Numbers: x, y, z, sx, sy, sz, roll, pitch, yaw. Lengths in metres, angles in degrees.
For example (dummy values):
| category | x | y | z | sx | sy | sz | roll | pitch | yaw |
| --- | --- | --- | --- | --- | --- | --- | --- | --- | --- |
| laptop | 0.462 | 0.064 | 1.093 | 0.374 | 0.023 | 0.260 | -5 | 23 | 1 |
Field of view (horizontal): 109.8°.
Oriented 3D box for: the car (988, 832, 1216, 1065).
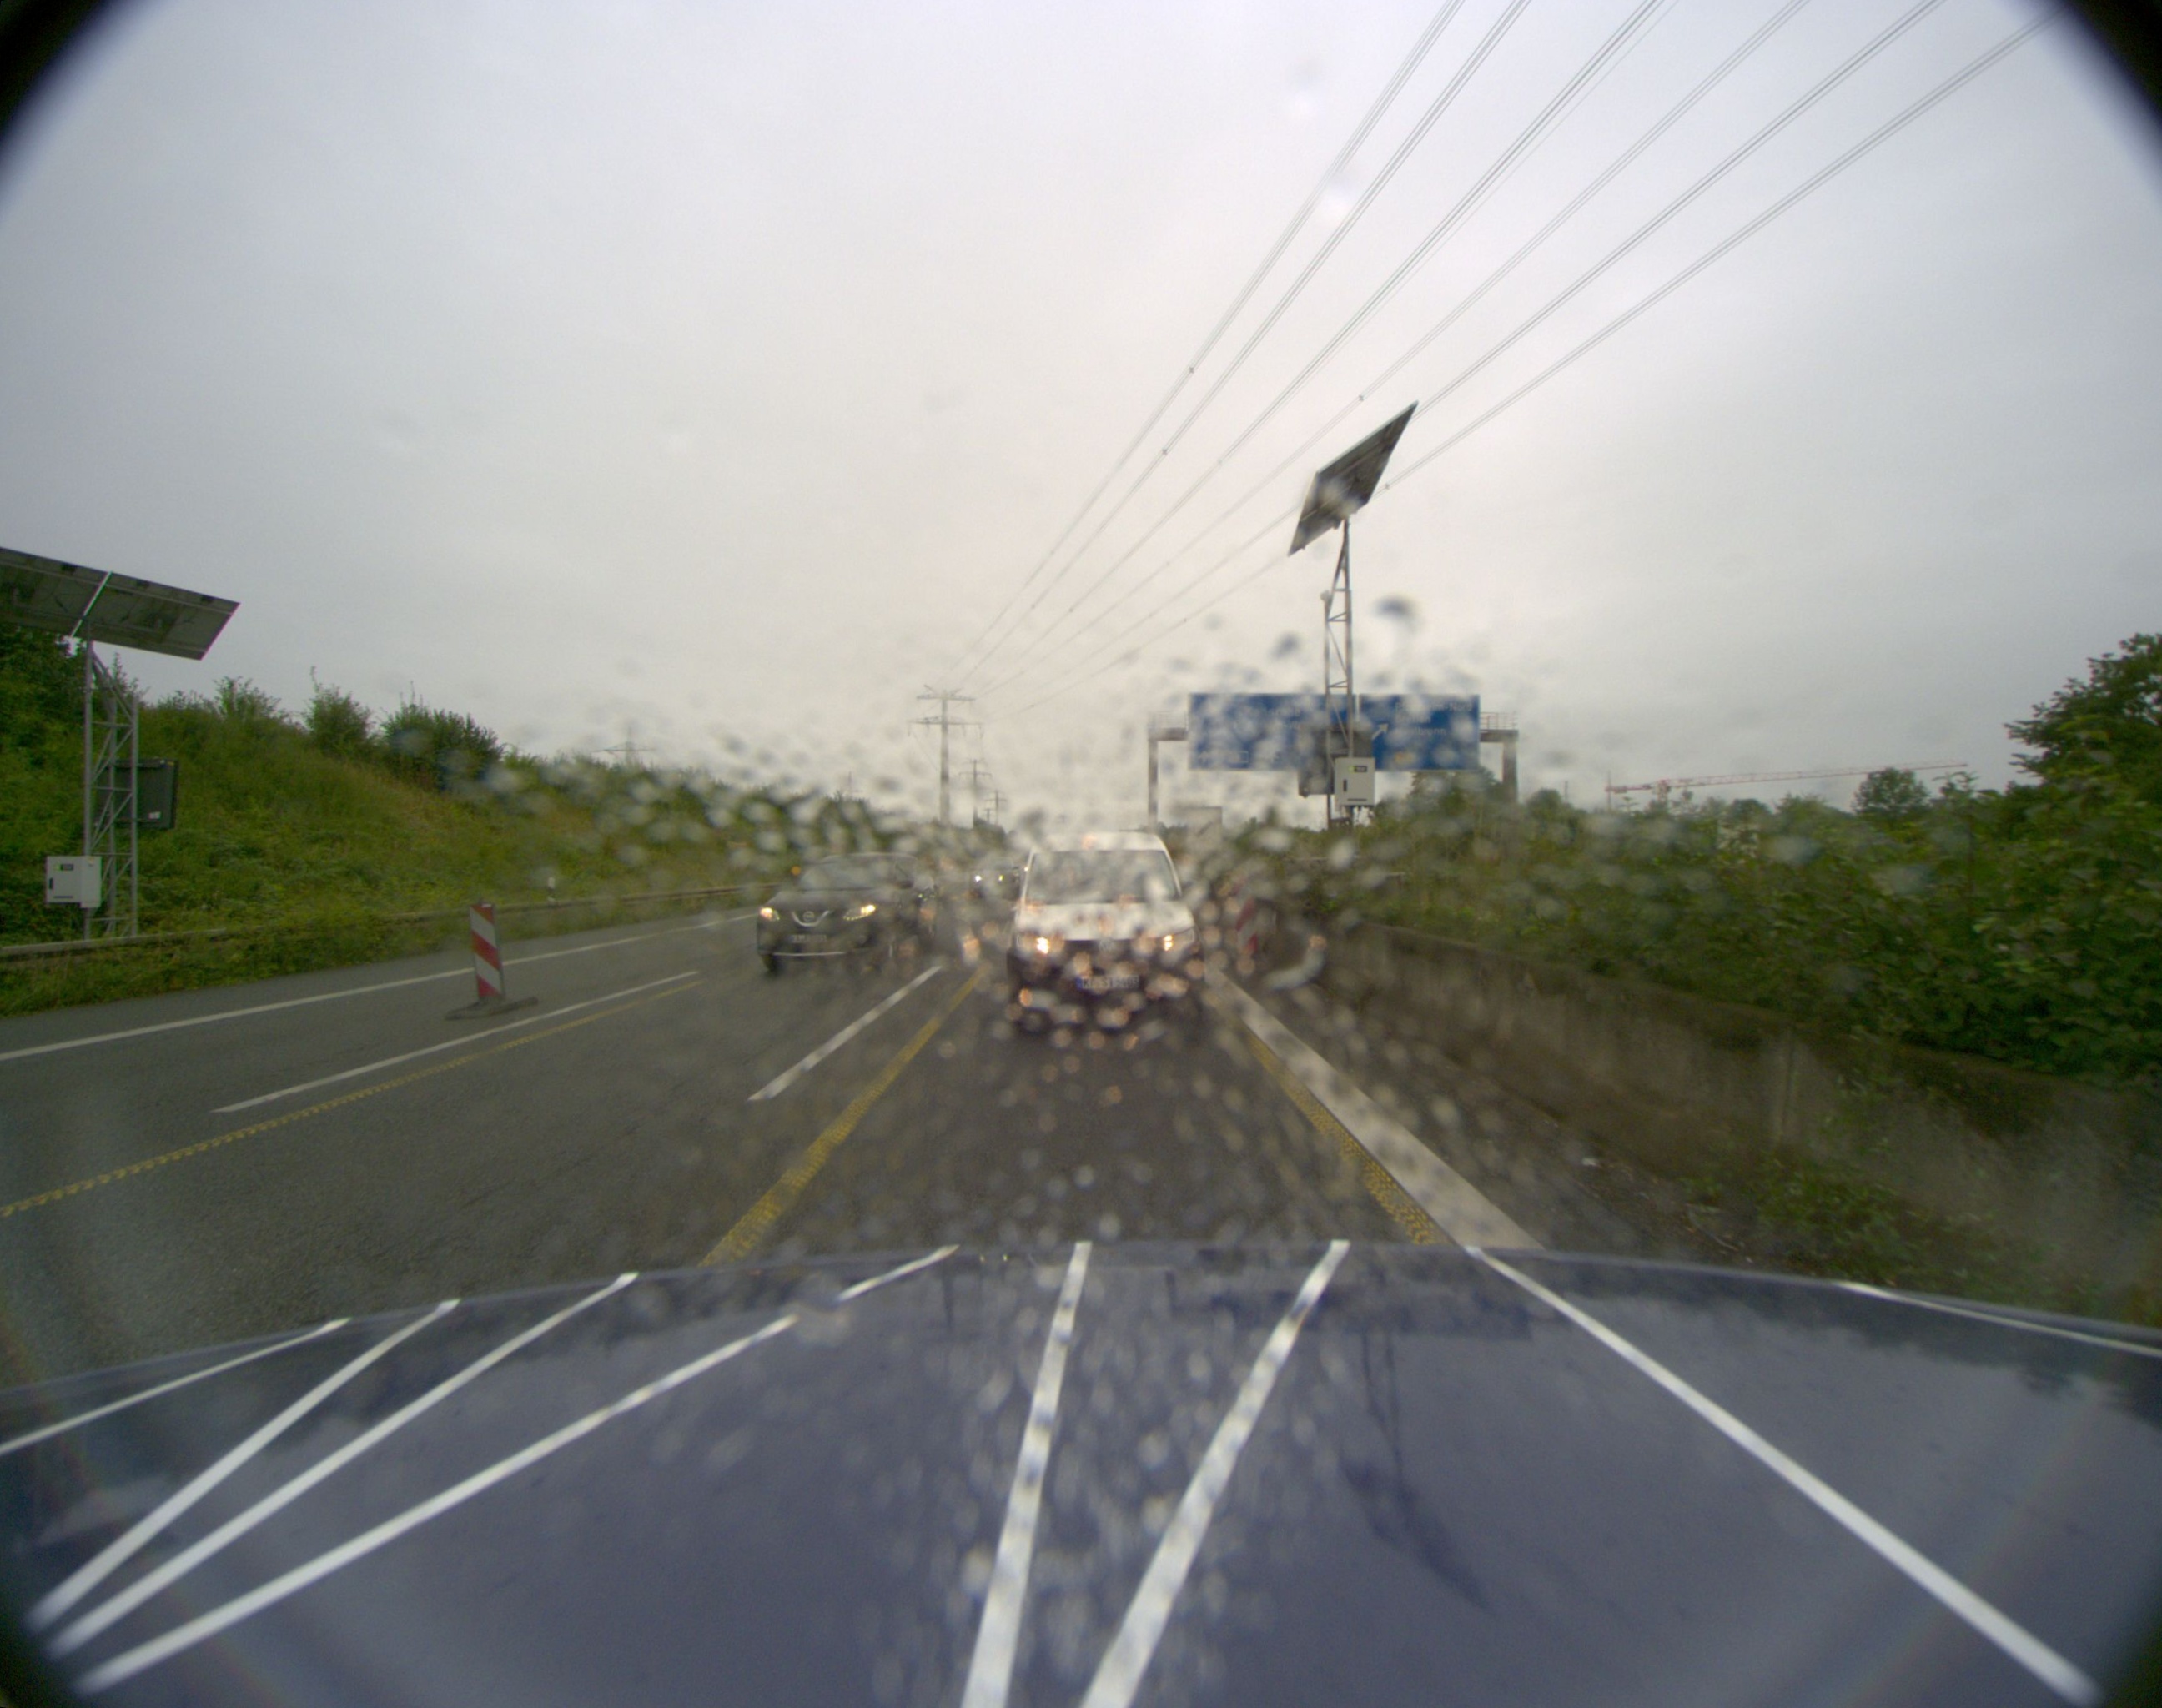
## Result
| category | x | y | z | sx | sy | sz | roll | pitch | yaw |
| --- | --- | --- | --- | --- | --- | --- | --- | --- | --- |
| car | 0.183 | 0.746 | 8.207 | 1.768 | 1.803 | 4.345 | -1 | 0 | 0 |

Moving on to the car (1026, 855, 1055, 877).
| category | x | y | z | sx | sy | sz | roll | pitch | yaw |
| --- | --- | --- | --- | --- | --- | --- | --- | --- | --- |
| car | -2.744 | 0.786 | 52.421 | 1.804 | 1.432 | 4.149 | -1 | 0 | -1 |

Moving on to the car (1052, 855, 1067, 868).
| category | x | y | z | sx | sy | sz | roll | pitch | yaw |
| --- | --- | --- | --- | --- | --- | --- | --- | --- | --- |
| car | -2.816 | 0.977 | 99.341 | 1.804 | 1.598 | 4.149 | -1 | 0 | -1 |

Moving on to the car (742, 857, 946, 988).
| category | x | y | z | sx | sy | sz | roll | pitch | yaw |
| --- | --- | --- | --- | --- | --- | --- | --- | --- | --- |
| car | -3.482 | 0.911 | 12.078 | 1.688 | 1.649 | 4.281 | -1 | 0 | 2 |

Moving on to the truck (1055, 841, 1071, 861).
| category | x | y | z | sx | sy | sz | roll | pitch | yaw |
| --- | --- | --- | --- | --- | --- | --- | --- | --- | --- |
| truck | -3.538 | -0.637 | 152.683 | 2.875 | 4.007 | 8.308 | -1 | 0 | 1 |

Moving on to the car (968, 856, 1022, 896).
| category | x | y | z | sx | sy | sz | roll | pitch | yaw |
| --- | --- | --- | --- | --- | --- | --- | --- | --- | --- |
| car | -3.557 | 0.879 | 31.970 | 1.804 | 1.523 | 4.149 | -1 | 0 | -1 |

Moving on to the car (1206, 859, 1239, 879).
| category | x | y | z | sx | sy | sz | roll | pitch | yaw |
| --- | --- | --- | --- | --- | --- | --- | --- | --- | --- |
| car | 11.689 | 1.216 | 63.064 | 1.998 | 1.518 | 4.000 | -1 | 0 | 0 |
